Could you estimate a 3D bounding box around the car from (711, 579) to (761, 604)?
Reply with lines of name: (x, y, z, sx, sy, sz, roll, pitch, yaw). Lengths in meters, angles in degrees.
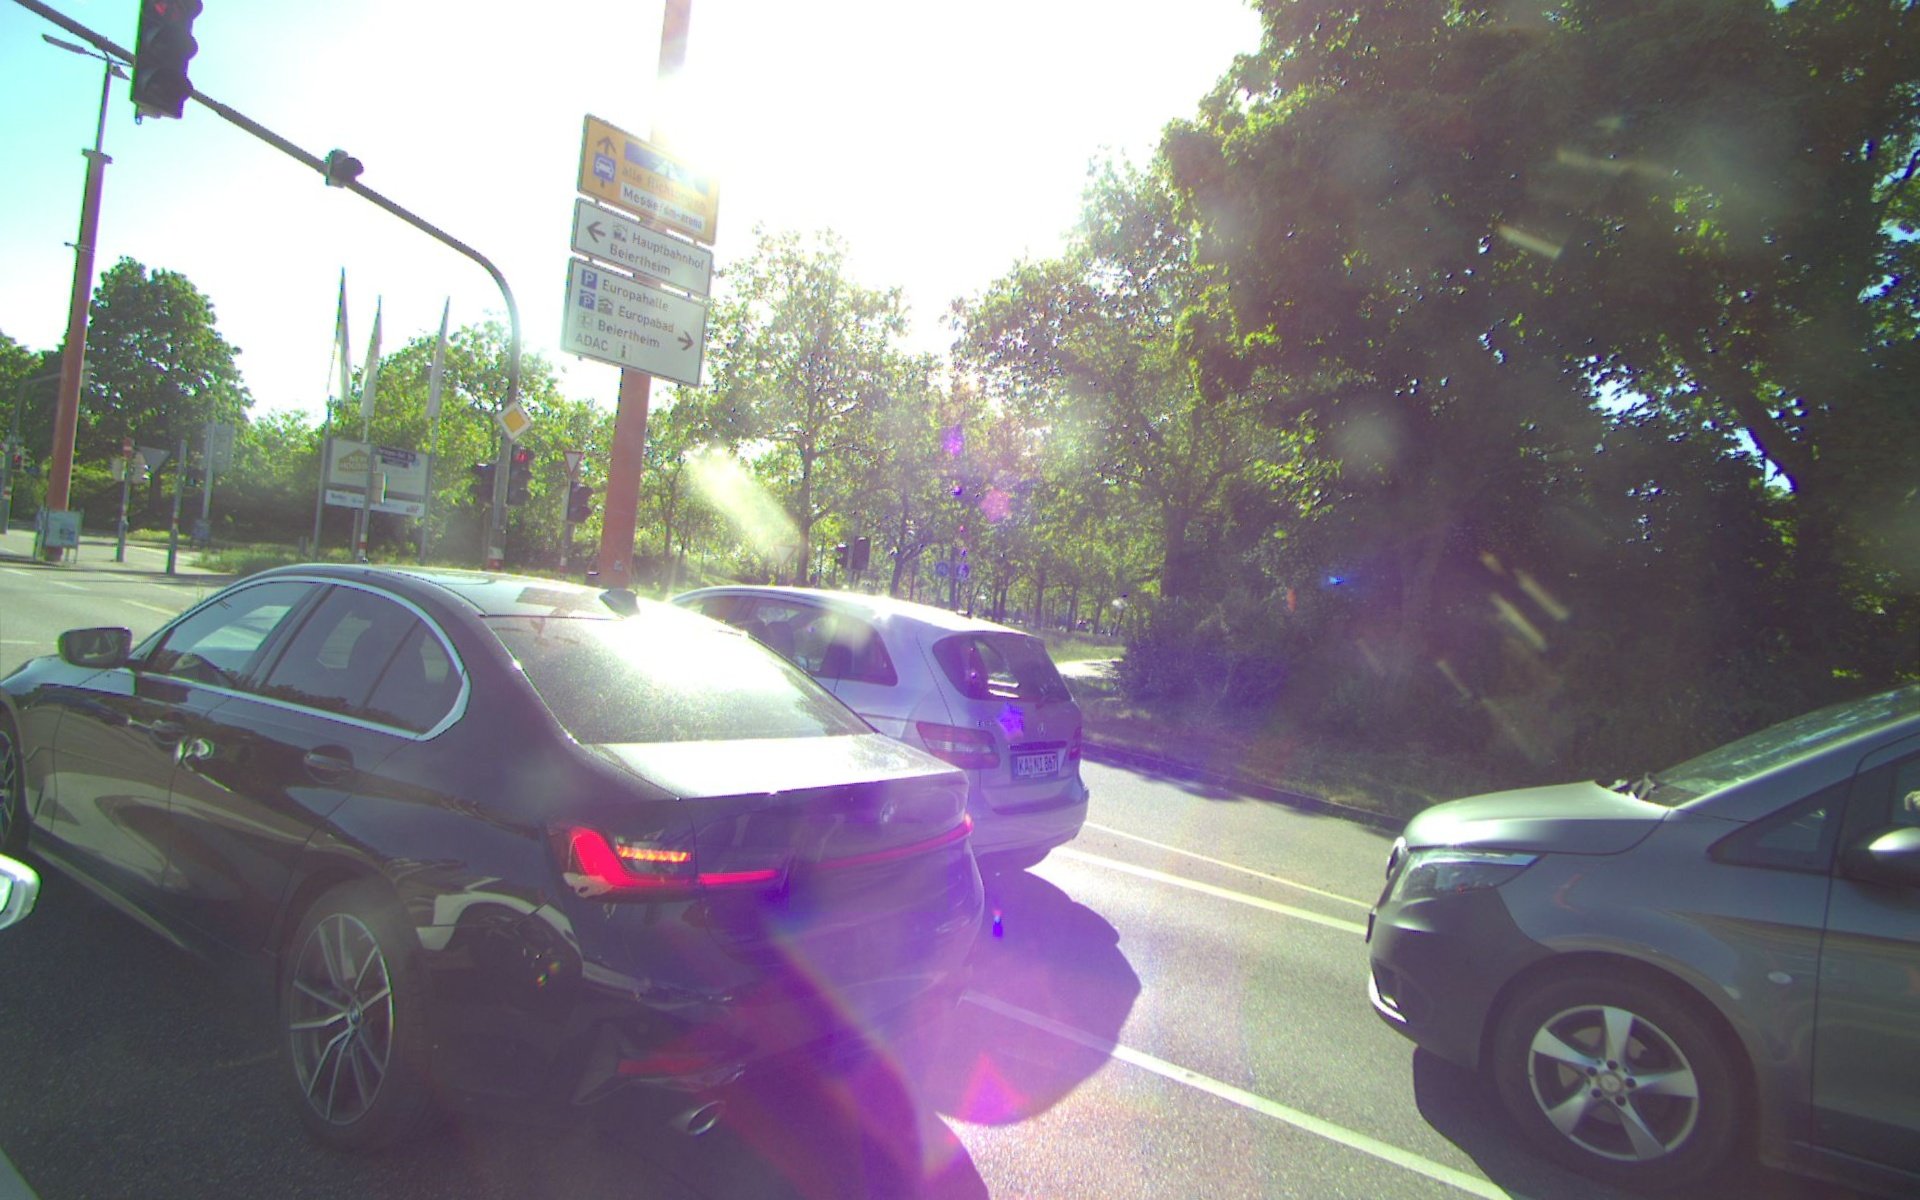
car: (-20.043, -0.722, 90.206, 1.741, 1.654, 4.290, 6, -2, 34)

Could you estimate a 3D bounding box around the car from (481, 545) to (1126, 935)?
car: (-1.099, 0.697, 6.523, 3.784, 1.626, 1.719, 6, -2, 32)

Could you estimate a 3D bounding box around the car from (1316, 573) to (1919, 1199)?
car: (3.990, 1.141, 3.093, 5.021, 1.875, 1.806, 7, 0, 34)

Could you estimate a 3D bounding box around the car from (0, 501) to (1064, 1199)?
car: (-1.960, 0.580, 3.786, 4.226, 1.458, 1.766, 6, -2, 34)
